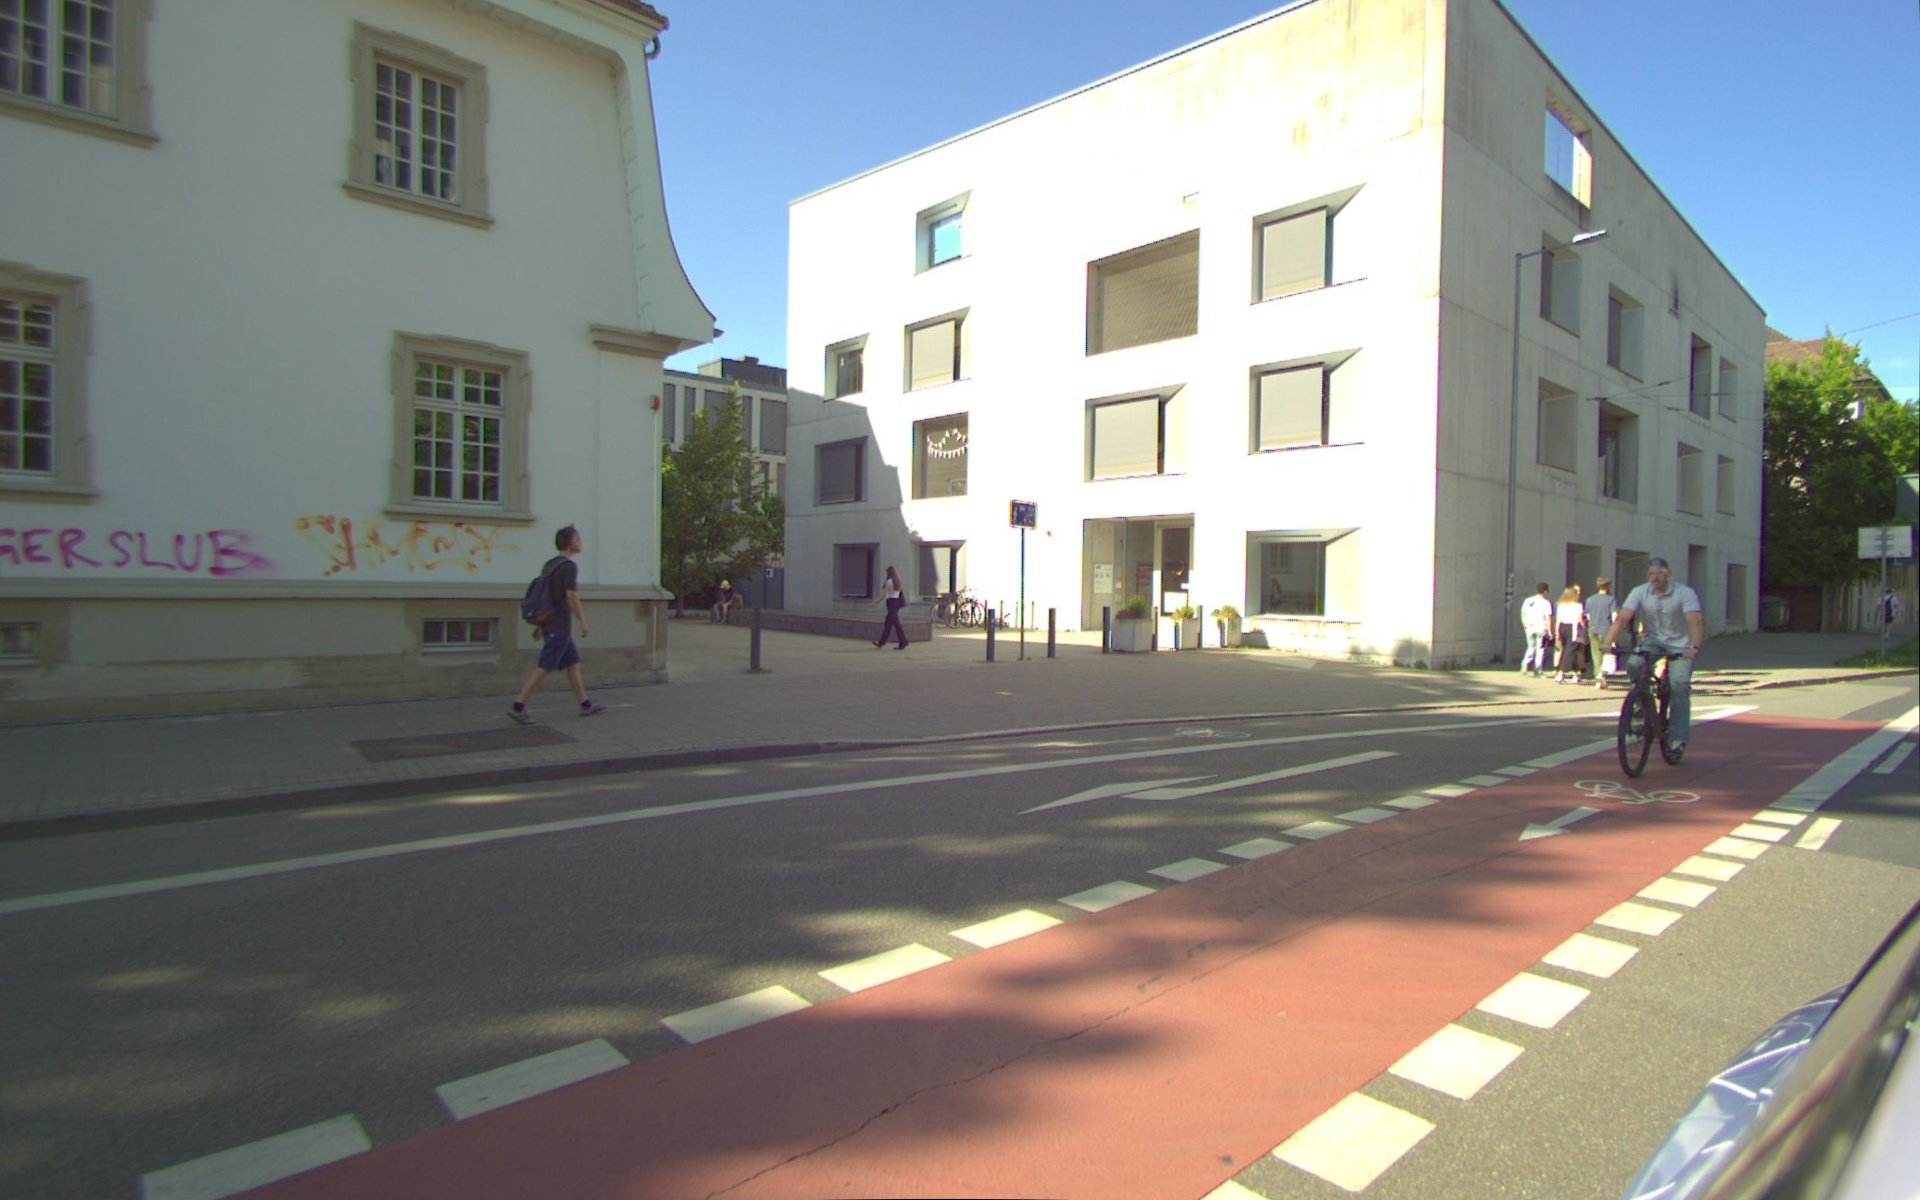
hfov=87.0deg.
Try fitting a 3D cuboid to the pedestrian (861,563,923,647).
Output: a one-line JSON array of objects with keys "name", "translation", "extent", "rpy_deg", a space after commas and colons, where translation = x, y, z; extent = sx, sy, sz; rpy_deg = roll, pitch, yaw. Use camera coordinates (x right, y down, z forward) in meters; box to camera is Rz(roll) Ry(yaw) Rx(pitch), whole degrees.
[{"name": "pedestrian", "translation": [-1.401, 0.082, 20.878], "extent": [0.990, 1.660, 0.846], "rpy_deg": [2, 3, 44]}]

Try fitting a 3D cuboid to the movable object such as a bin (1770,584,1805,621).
[{"name": "movable object such as a bin", "translation": [33.709, 0.095, 41.212], "extent": [1.309, 1.481, 0.934], "rpy_deg": [0, 1, -43]}]

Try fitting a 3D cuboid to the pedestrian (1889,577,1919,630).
[{"name": "pedestrian", "translation": [33.743, 0.112, 36.147], "extent": [0.939, 1.872, 0.685], "rpy_deg": [0, 2, -43]}]

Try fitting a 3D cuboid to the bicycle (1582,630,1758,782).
[{"name": "bicycle", "translation": [6.175, 0.843, 8.755], "extent": [2.074, 1.108, 0.740], "rpy_deg": [0, 0, -40]}]

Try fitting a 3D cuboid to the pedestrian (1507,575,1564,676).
[{"name": "pedestrian", "translation": [10.757, 0.456, 18.915], "extent": [0.641, 1.795, 0.611], "rpy_deg": [0, 5, -40]}]

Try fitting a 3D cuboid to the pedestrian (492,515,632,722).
[{"name": "pedestrian", "translation": [-3.933, 0.150, 10.018], "extent": [1.114, 1.927, 0.639], "rpy_deg": [0, 3, -41]}]

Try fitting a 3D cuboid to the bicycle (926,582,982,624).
[{"name": "bicycle", "translation": [-0.152, 0.062, 27.833], "extent": [1.563, 1.108, 0.498], "rpy_deg": [-1, 2, -38]}]

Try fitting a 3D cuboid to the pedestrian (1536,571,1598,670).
[{"name": "pedestrian", "translation": [11.622, 0.380, 19.373], "extent": [0.717, 1.823, 0.660], "rpy_deg": [0, 4, -34]}]

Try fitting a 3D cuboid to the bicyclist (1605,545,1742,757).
[{"name": "bicyclist", "translation": [6.183, 0.411, 8.767], "extent": [0.954, 1.707, 0.740], "rpy_deg": [0, -1, -40]}]

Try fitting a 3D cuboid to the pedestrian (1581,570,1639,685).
[{"name": "pedestrian", "translation": [11.331, 0.466, 17.640], "extent": [0.600, 1.925, 0.521], "rpy_deg": [0, 4, -34]}]

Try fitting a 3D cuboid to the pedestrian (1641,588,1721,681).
[{"name": "pedestrian", "translation": [13.561, 0.635, 19.047], "extent": [0.876, 1.623, 0.833], "rpy_deg": [1, 5, -31]}]

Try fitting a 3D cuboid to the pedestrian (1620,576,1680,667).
[{"name": "pedestrian", "translation": [14.276, 0.431, 20.934], "extent": [0.938, 1.783, 0.649], "rpy_deg": [0, 5, -39]}]

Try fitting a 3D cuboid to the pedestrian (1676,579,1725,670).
[{"name": "pedestrian", "translation": [14.892, 0.482, 20.353], "extent": [0.802, 1.748, 0.496], "rpy_deg": [0, 5, -41]}]

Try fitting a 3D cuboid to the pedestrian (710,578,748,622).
[{"name": "pedestrian", "translation": [-6.488, -0.012, 28.407], "extent": [0.640, 1.207, 0.966], "rpy_deg": [0, 1, -40]}]

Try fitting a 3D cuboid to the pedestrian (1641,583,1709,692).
[{"name": "pedestrian", "translation": [12.132, 0.618, 17.177], "extent": [0.704, 1.767, 0.609], "rpy_deg": [0, 4, -34]}]

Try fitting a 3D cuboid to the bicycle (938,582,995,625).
[{"name": "bicycle", "translation": [0.187, 0.082, 27.463], "extent": [1.558, 1.108, 0.498], "rpy_deg": [-1, 2, -38]}]

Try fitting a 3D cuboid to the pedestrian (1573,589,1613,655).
[{"name": "pedestrian", "translation": [14.057, 0.481, 22.487], "extent": [0.751, 1.422, 0.519], "rpy_deg": [0, 1, -39]}]

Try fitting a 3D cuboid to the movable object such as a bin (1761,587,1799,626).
[{"name": "movable object such as a bin", "translation": [32.241, 0.232, 39.790], "extent": [1.331, 1.481, 0.935], "rpy_deg": [0, 1, -40]}]

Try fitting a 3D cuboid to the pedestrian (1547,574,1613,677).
[{"name": "pedestrian", "translation": [11.212, 0.455, 18.305], "extent": [0.720, 1.795, 0.531], "rpy_deg": [2, 4, -15]}]

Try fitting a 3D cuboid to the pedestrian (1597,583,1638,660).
[{"name": "pedestrian", "translation": [14.248, 0.456, 21.923], "extent": [0.751, 1.620, 0.519], "rpy_deg": [0, 1, -39]}]
